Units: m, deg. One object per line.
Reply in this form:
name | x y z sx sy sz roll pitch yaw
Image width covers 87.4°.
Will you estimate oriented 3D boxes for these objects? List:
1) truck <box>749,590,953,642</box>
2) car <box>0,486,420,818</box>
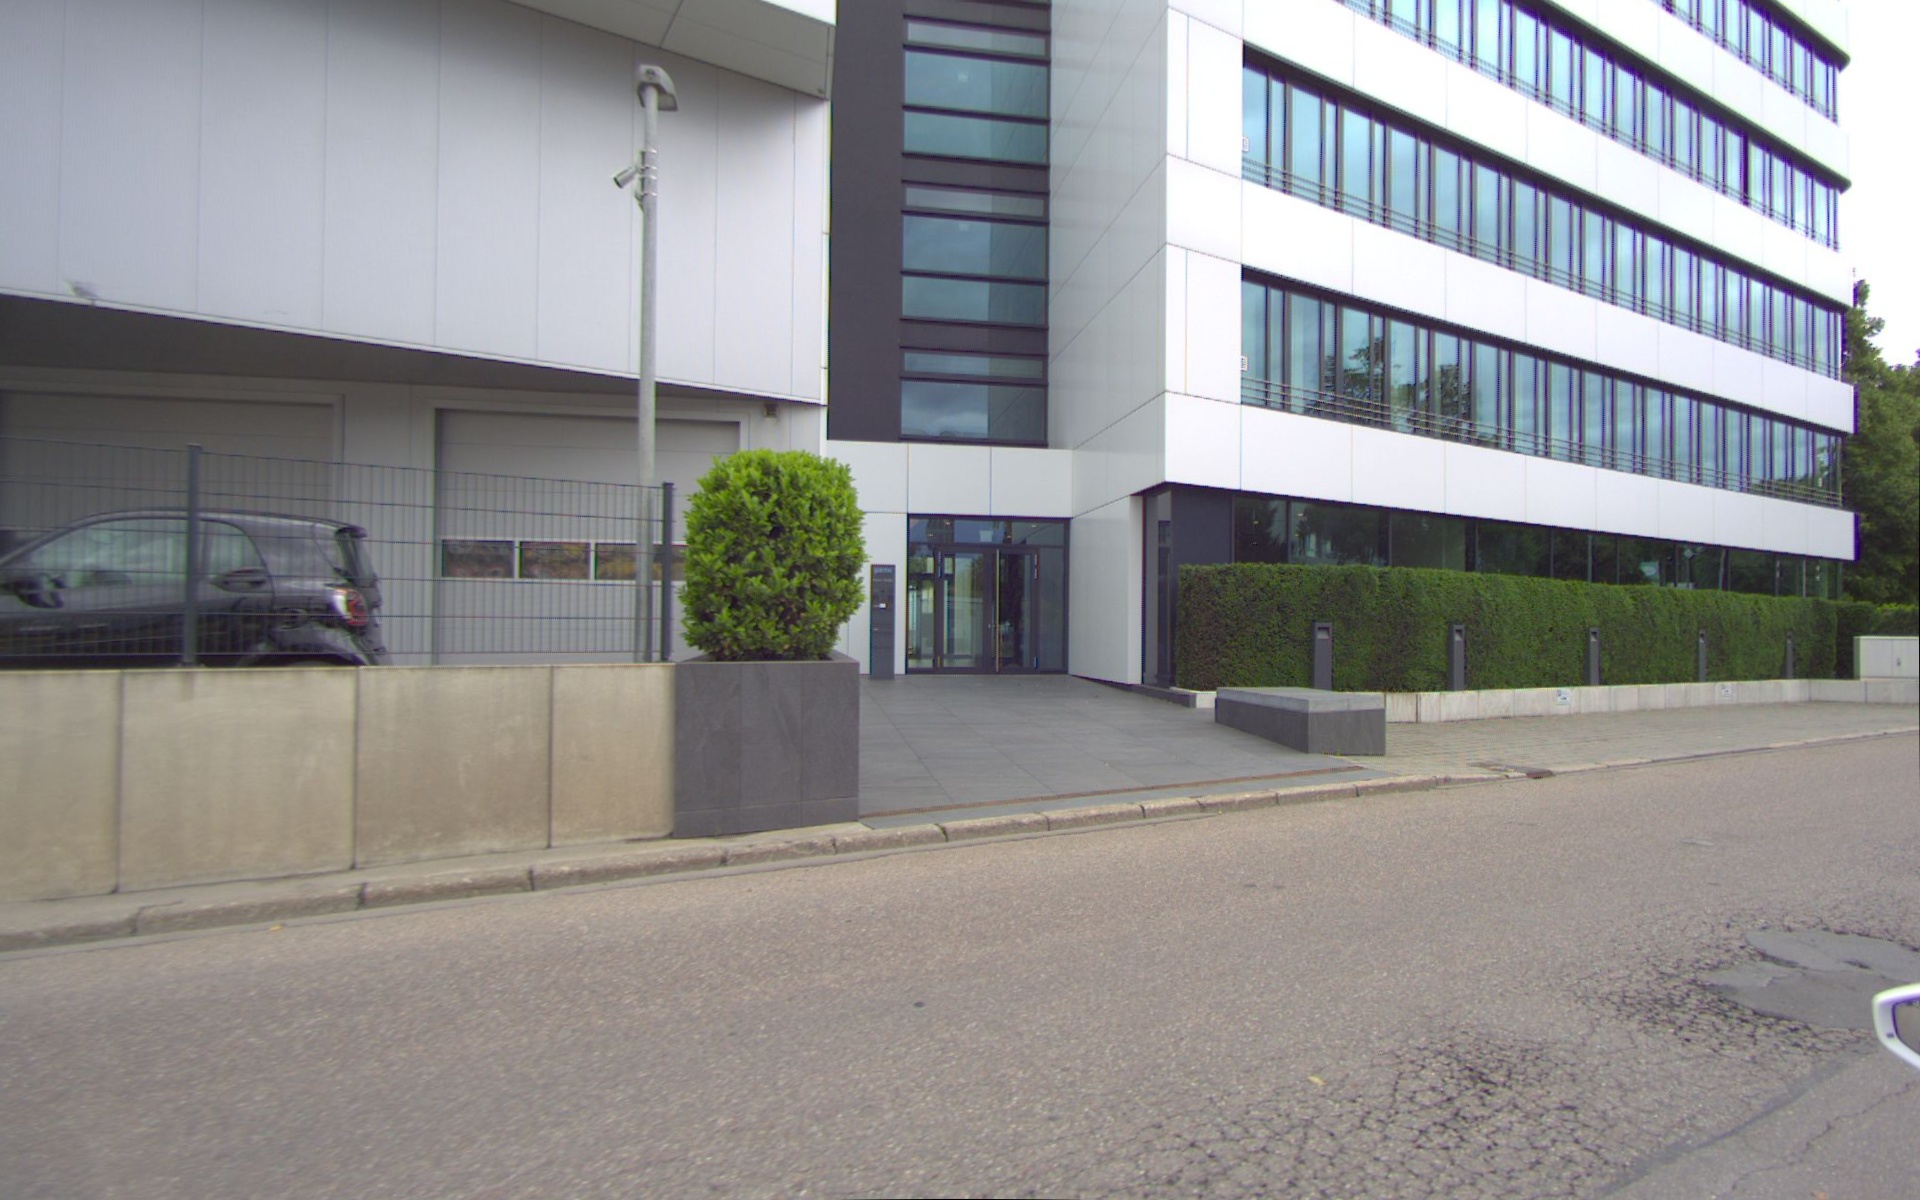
truck | -5.394 0.847 51.152 10.045 2.555 2.984 0 -2 1
car | -5.201 0.287 6.314 3.141 1.785 1.643 2 0 -29
